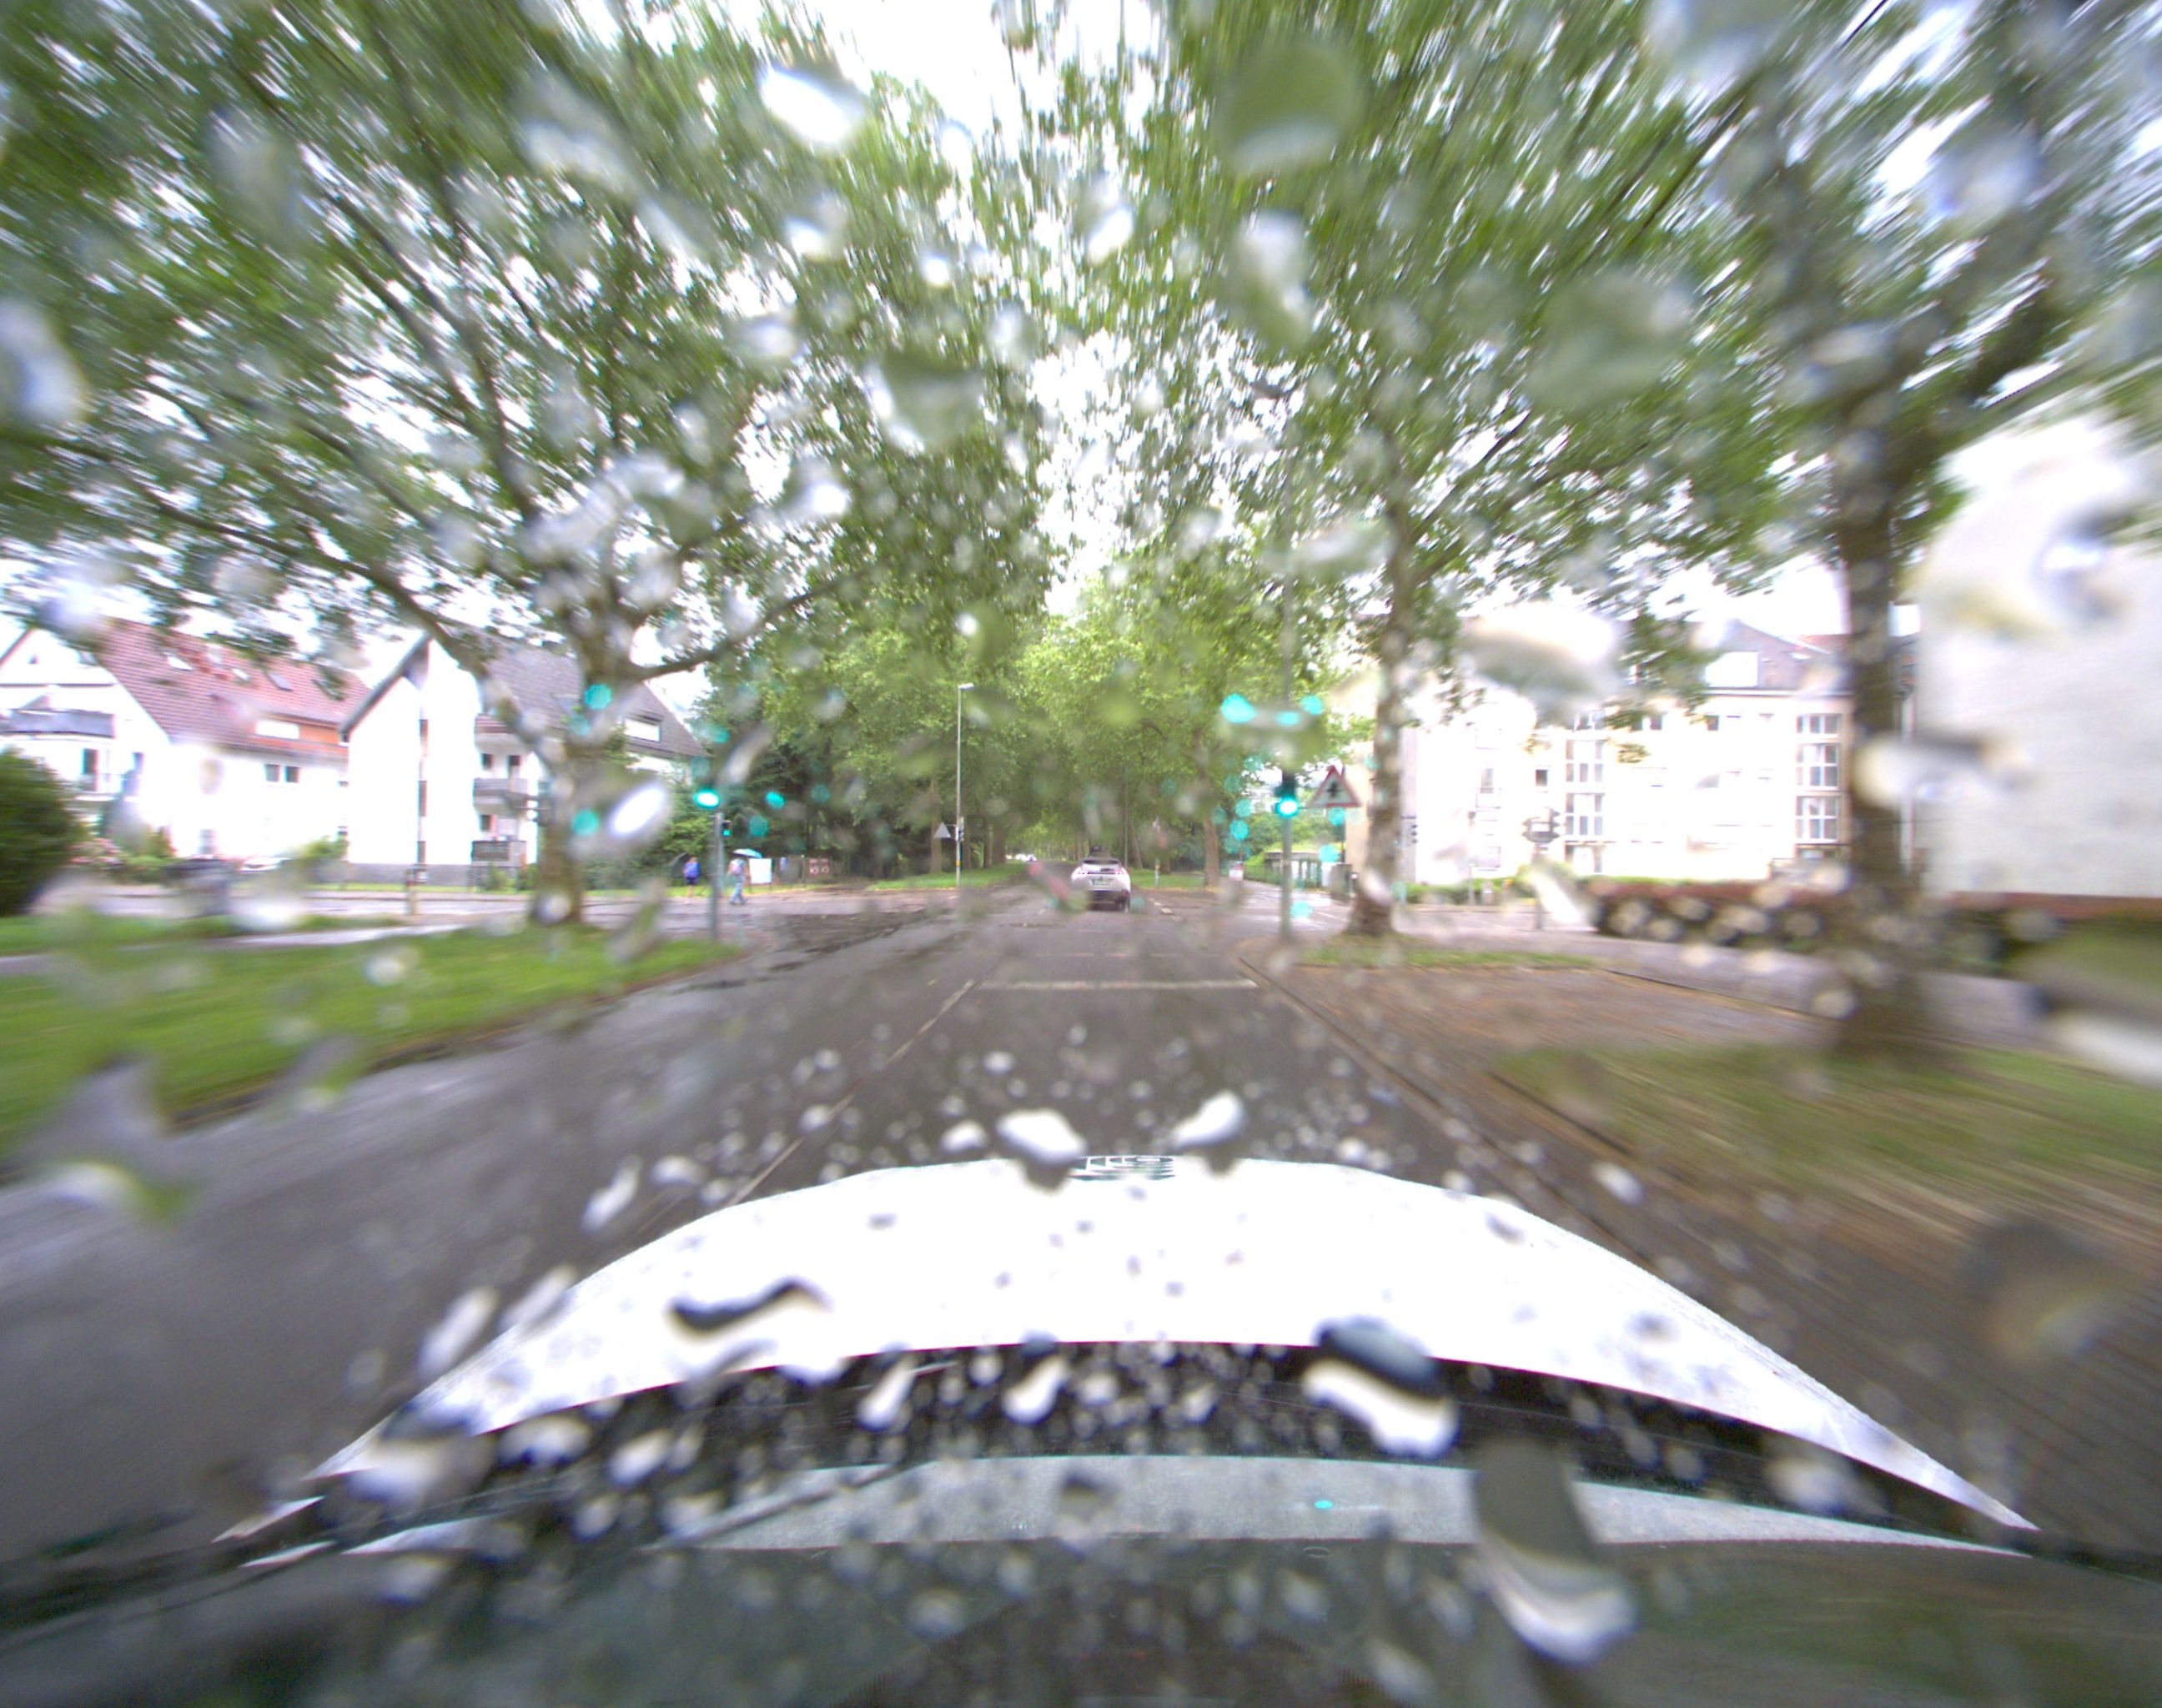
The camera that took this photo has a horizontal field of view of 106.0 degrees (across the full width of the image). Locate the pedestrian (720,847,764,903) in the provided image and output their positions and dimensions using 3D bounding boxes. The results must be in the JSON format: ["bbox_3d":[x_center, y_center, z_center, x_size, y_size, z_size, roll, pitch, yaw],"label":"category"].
[{"bbox_3d":[-10.912,0.666,26.211,1.028,1.765,0.839,0,0,3],"label":"pedestrian"}]

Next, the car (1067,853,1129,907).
[{"bbox_3d":[0.496,0.759,25.398,1.774,1.536,4.056,0,0,0],"label":"car"}]

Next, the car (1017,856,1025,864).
[{"bbox_3d":[-15.160,1.509,206.866,1.736,2.014,3.662,1,0,-1],"label":"car"}]

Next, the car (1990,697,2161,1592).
[{"bbox_3d":[4.855,0.526,1.151,5.326,1.807,1.843,-1,0,-3],"label":"car"}]

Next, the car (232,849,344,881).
[{"bbox_3d":[-37.759,0.522,38.902,1.609,1.446,3.660,-1,-1,4],"label":"car"}]

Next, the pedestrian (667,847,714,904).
[{"bbox_3d":[-12.477,0.674,26.051,1.028,1.765,0.880,0,0,3],"label":"pedestrian"}]

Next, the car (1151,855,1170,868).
[{"bbox_3d":[9.431,0.898,96.904,1.899,1.510,3.931,0,0,0],"label":"car"}]

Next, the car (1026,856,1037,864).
[{"bbox_3d":[-10.116,1.217,166.689,1.867,1.677,3.707,0,0,0],"label":"car"}]

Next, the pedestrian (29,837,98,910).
[{"bbox_3d":[-24.785,0.475,19.851,0.856,1.744,0.640,0,-1,1],"label":"pedestrian"}]
